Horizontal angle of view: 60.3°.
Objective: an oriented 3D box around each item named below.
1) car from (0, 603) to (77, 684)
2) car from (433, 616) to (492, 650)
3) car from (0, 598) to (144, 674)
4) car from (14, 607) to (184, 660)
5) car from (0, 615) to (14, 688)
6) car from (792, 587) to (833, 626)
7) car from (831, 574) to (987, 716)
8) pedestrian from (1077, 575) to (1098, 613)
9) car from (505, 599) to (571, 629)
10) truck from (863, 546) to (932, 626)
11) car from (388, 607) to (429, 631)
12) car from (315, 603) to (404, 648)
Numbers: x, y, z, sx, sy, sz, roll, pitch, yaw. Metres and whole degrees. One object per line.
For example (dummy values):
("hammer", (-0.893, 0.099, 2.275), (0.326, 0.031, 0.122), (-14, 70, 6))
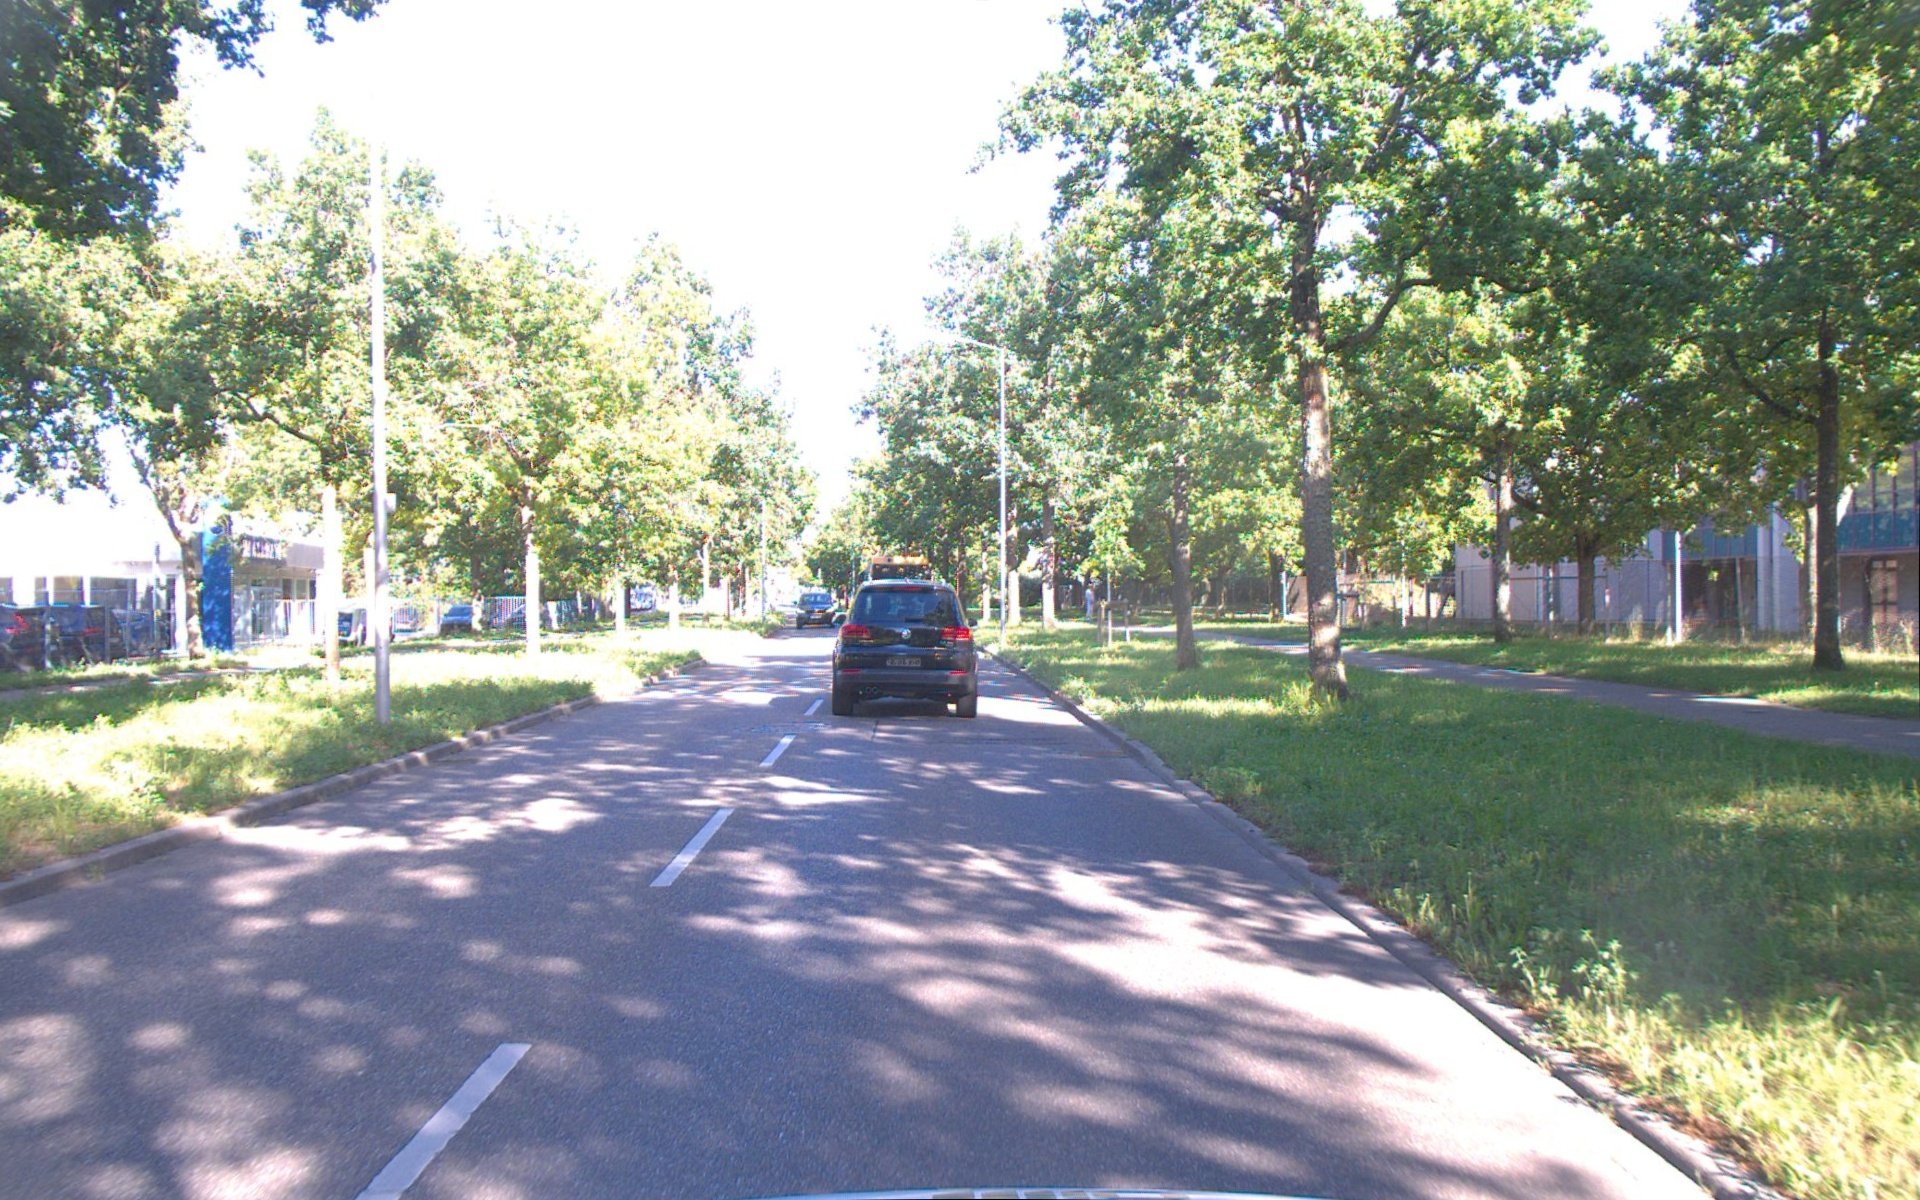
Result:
("car", (-22.627, 0.942, 37.737), (3.906, 1.776, 1.861), (1, 0, -1))
("car", (-25.943, 1.710, 86.436), (1.955, 1.625, 5.009), (1, 0, -5))
("car", (-22.516, 0.857, 40.646), (3.905, 1.772, 2.000), (1, 0, -1))
("car", (-31.419, 1.182, 60.534), (1.959, 1.689, 5.243), (1, 2, 34))
("car", (-22.531, 1.072, 34.695), (4.223, 1.545, 1.861), (1, 0, -1))
("car", (-6.879, 0.302, 77.305), (1.733, 1.701, 4.196), (-2, 0, -4))
("car", (-0.754, 0.536, 21.665), (1.748, 1.662, 3.995), (1, 0, -6))
("pedestrian", (5.826, -0.272, 75.576), (0.600, 1.659, 0.713), (-3, 1, -26))
("car", (-26.839, 0.894, 105.237), (3.916, 1.833, 1.994), (1, 0, -12))
("truck", (-2.818, -0.580, 72.707), (2.464, 3.300, 8.141), (-1, 0, -6))
("car", (-38.311, 1.317, 114.987), (1.958, 1.594, 4.872), (1, 0, -11))
("car", (-20.670, 0.882, 56.949), (2.512, 1.495, 1.427), (-1, 0, 13))
